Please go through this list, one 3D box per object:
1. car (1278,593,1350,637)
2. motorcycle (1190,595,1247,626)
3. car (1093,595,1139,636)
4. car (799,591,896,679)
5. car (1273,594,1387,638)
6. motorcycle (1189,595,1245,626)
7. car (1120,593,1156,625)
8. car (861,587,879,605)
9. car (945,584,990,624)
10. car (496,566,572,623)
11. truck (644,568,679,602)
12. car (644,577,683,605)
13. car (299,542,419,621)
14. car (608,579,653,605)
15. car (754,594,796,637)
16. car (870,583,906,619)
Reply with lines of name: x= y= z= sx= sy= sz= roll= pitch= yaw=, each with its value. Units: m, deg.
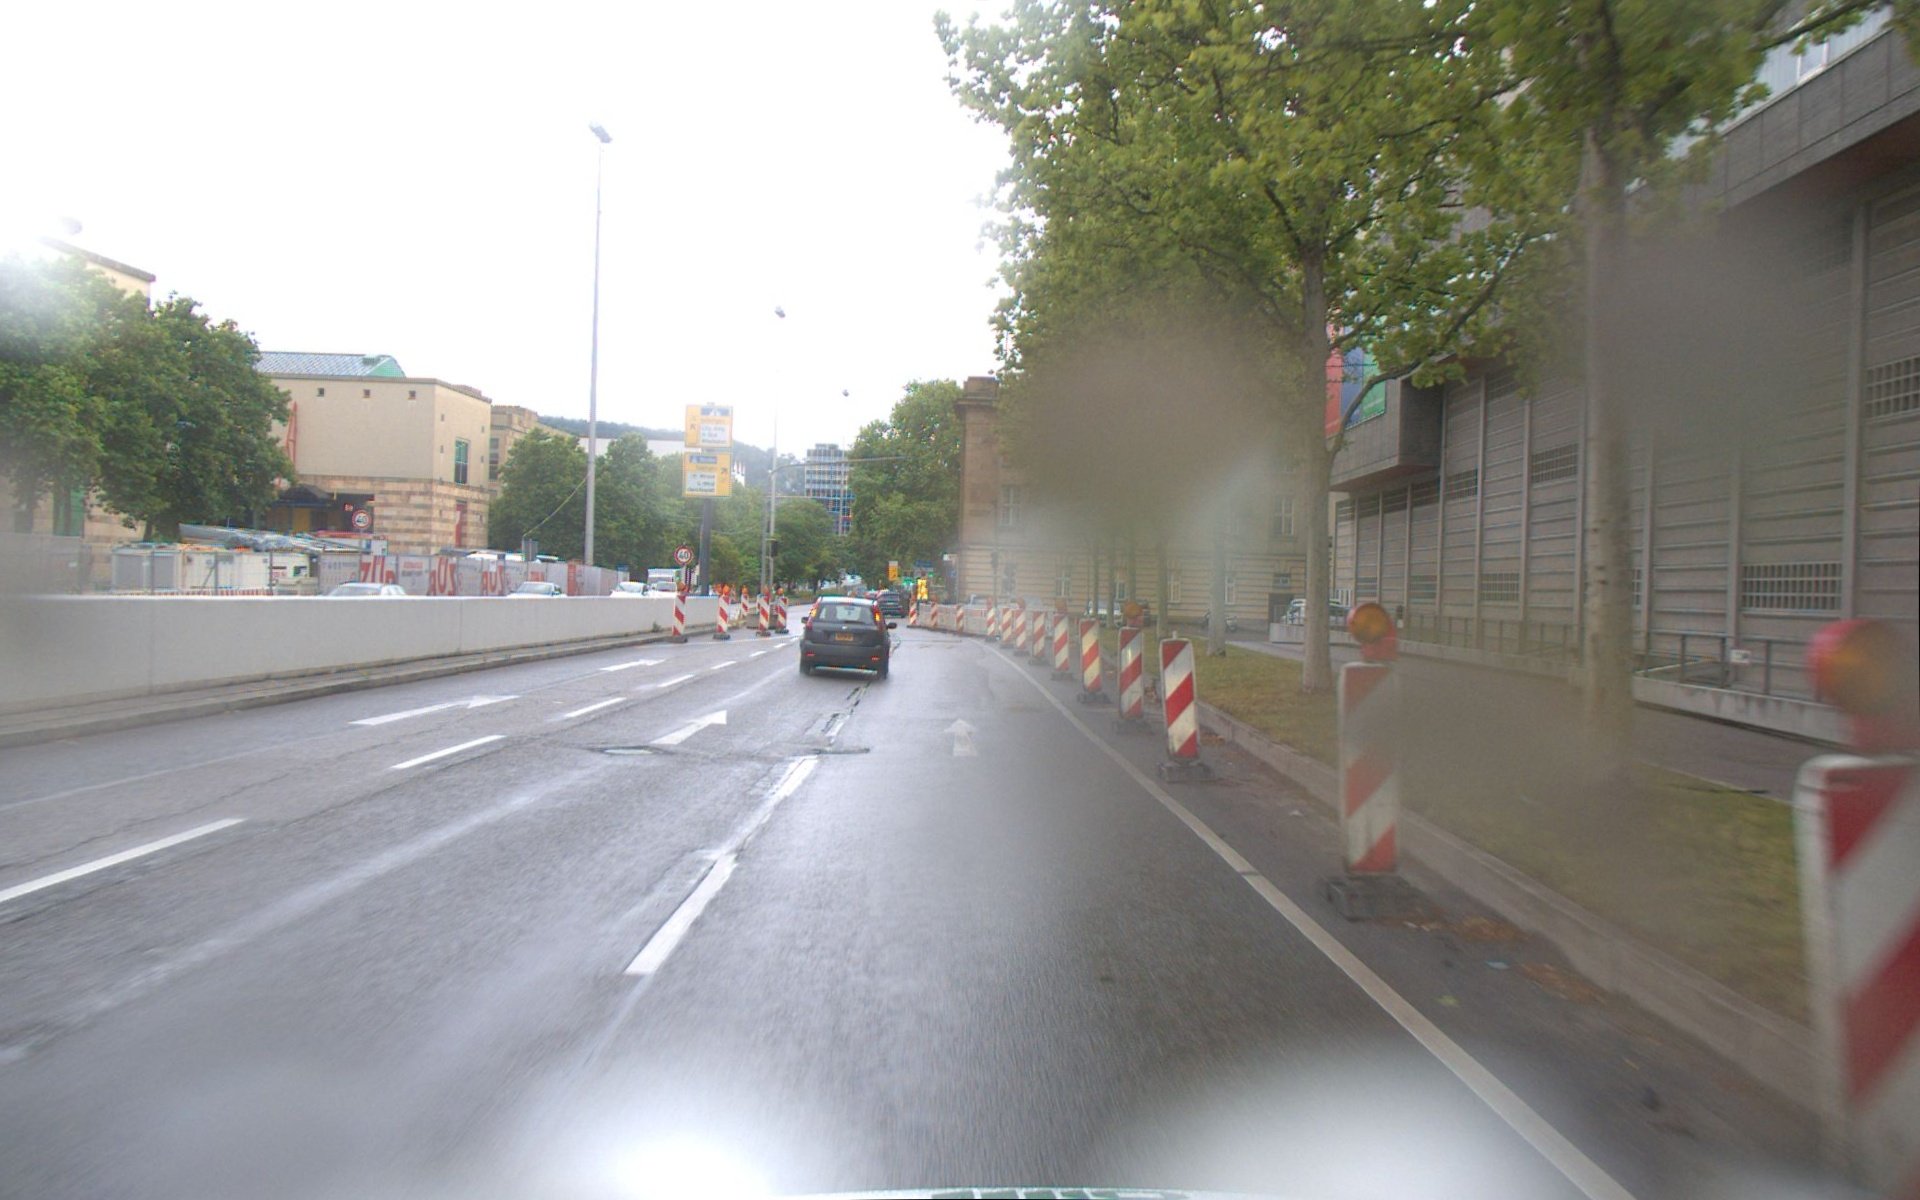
car: x=15.095 y=0.673 z=70.736 sx=1.953 sy=1.790 sz=5.096 roll=1 pitch=-1 yaw=0
motorcycle: x=14.944 y=0.618 z=95.638 sx=3.096 sy=1.570 sz=0.890 roll=4 pitch=-2 yaw=2
car: x=7.276 y=0.694 z=77.236 sx=1.952 sy=1.738 sz=4.002 roll=3 pitch=1 yaw=4
car: x=-2.113 y=0.622 z=31.522 sx=1.637 sy=1.452 sz=3.755 roll=4 pitch=0 yaw=-3
car: x=13.998 y=0.616 z=62.776 sx=3.905 sy=1.587 sz=1.933 roll=0 pitch=-2 yaw=0
motorcycle: x=15.005 y=0.606 z=96.666 sx=3.095 sy=1.570 sz=0.890 roll=4 pitch=-2 yaw=4
car: x=10.619 y=0.550 z=98.900 sx=1.952 sy=1.738 sz=4.001 roll=3 pitch=-1 yaw=4
car: x=-11.480 y=-0.477 z=211.055 sx=1.955 sy=2.049 sz=3.995 roll=4 pitch=-1 yaw=-5
car: x=0.336 y=0.159 z=78.144 sx=1.953 sy=1.738 sz=4.000 roll=3 pitch=1 yaw=-1
car: x=-16.907 y=-0.222 z=65.879 sx=1.953 sy=2.048 sz=3.999 roll=3 pitch=0 yaw=-1
truck: x=-23.600 y=-1.147 z=130.891 sx=2.368 sy=2.379 sz=5.434 roll=4 pitch=-1 yaw=-8
car: x=-17.928 y=-0.571 z=100.080 sx=1.635 sy=1.548 sz=3.999 roll=4 pitch=1 yaw=-2
car: x=-17.200 y=-0.526 z=47.519 sx=1.953 sy=2.048 sz=3.999 roll=3 pitch=0 yaw=-1
car: x=-16.499 y=-0.396 z=82.960 sx=1.593 sy=1.216 sz=3.404 roll=3 pitch=0 yaw=-1
car: x=-6.430 y=0.535 z=57.596 sx=1.358 sy=1.411 sz=3.064 roll=1 pitch=0 yaw=-5
car: x=-4.391 y=0.059 z=101.436 sx=1.953 sy=2.048 sz=4.000 roll=3 pitch=1 yaw=-1
